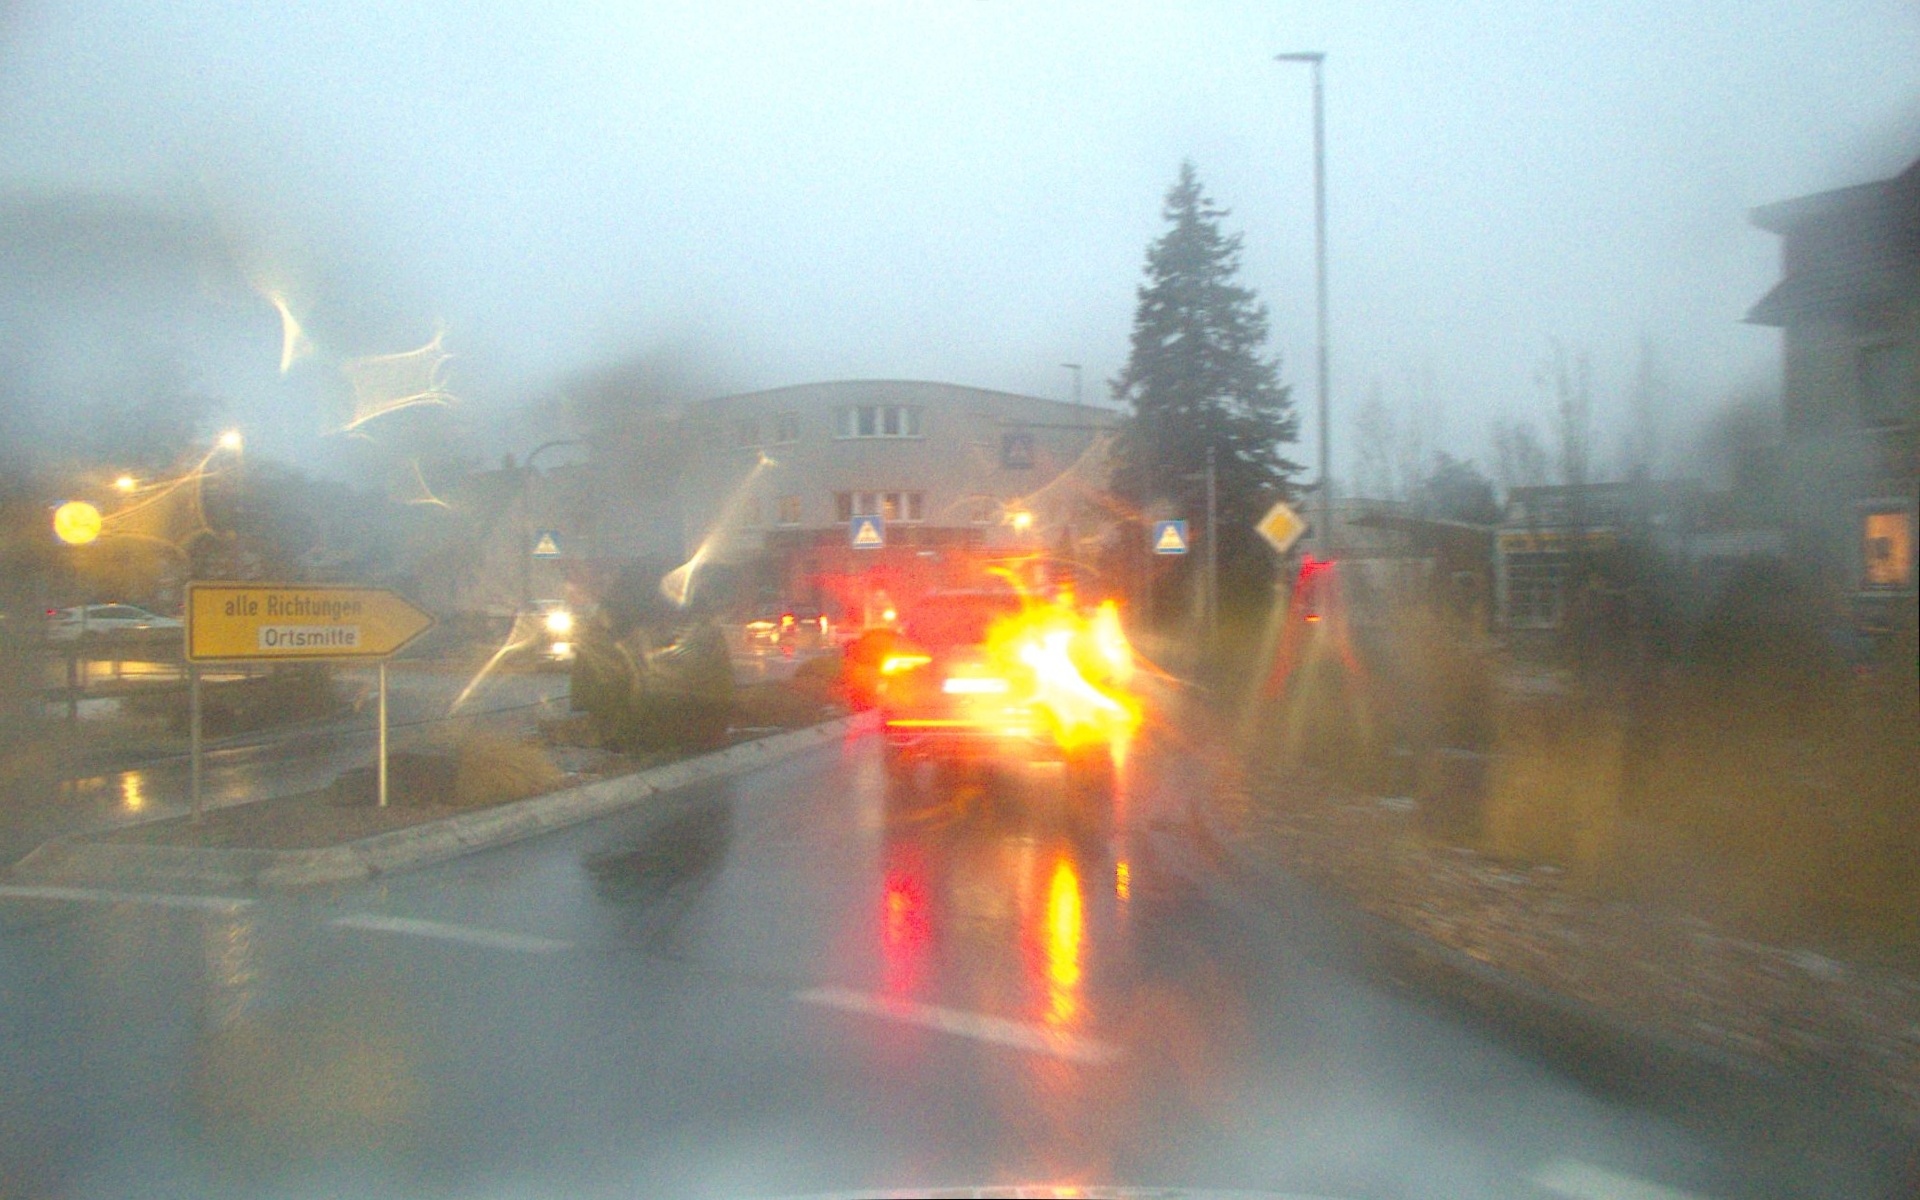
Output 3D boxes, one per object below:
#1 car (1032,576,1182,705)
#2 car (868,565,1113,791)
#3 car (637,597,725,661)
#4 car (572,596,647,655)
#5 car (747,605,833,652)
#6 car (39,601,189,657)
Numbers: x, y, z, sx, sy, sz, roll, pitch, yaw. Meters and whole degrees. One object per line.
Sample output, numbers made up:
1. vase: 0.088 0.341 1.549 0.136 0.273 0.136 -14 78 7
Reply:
1. car: 2.406 0.559 26.317 2.117 1.718 4.576 -2 2 7
2. car: 0.231 0.588 15.051 1.905 1.748 4.000 -1 1 -1
3. car: -10.070 0.997 59.415 2.134 2.096 4.540 -1 1 -23
4. car: -13.735 0.949 64.579 2.133 2.096 4.542 -1 1 -21
5. car: -6.141 1.043 59.471 1.857 1.575 4.539 -1 -1 -22
6. car: -29.262 0.968 57.308 1.677 1.778 4.328 0 1 43
